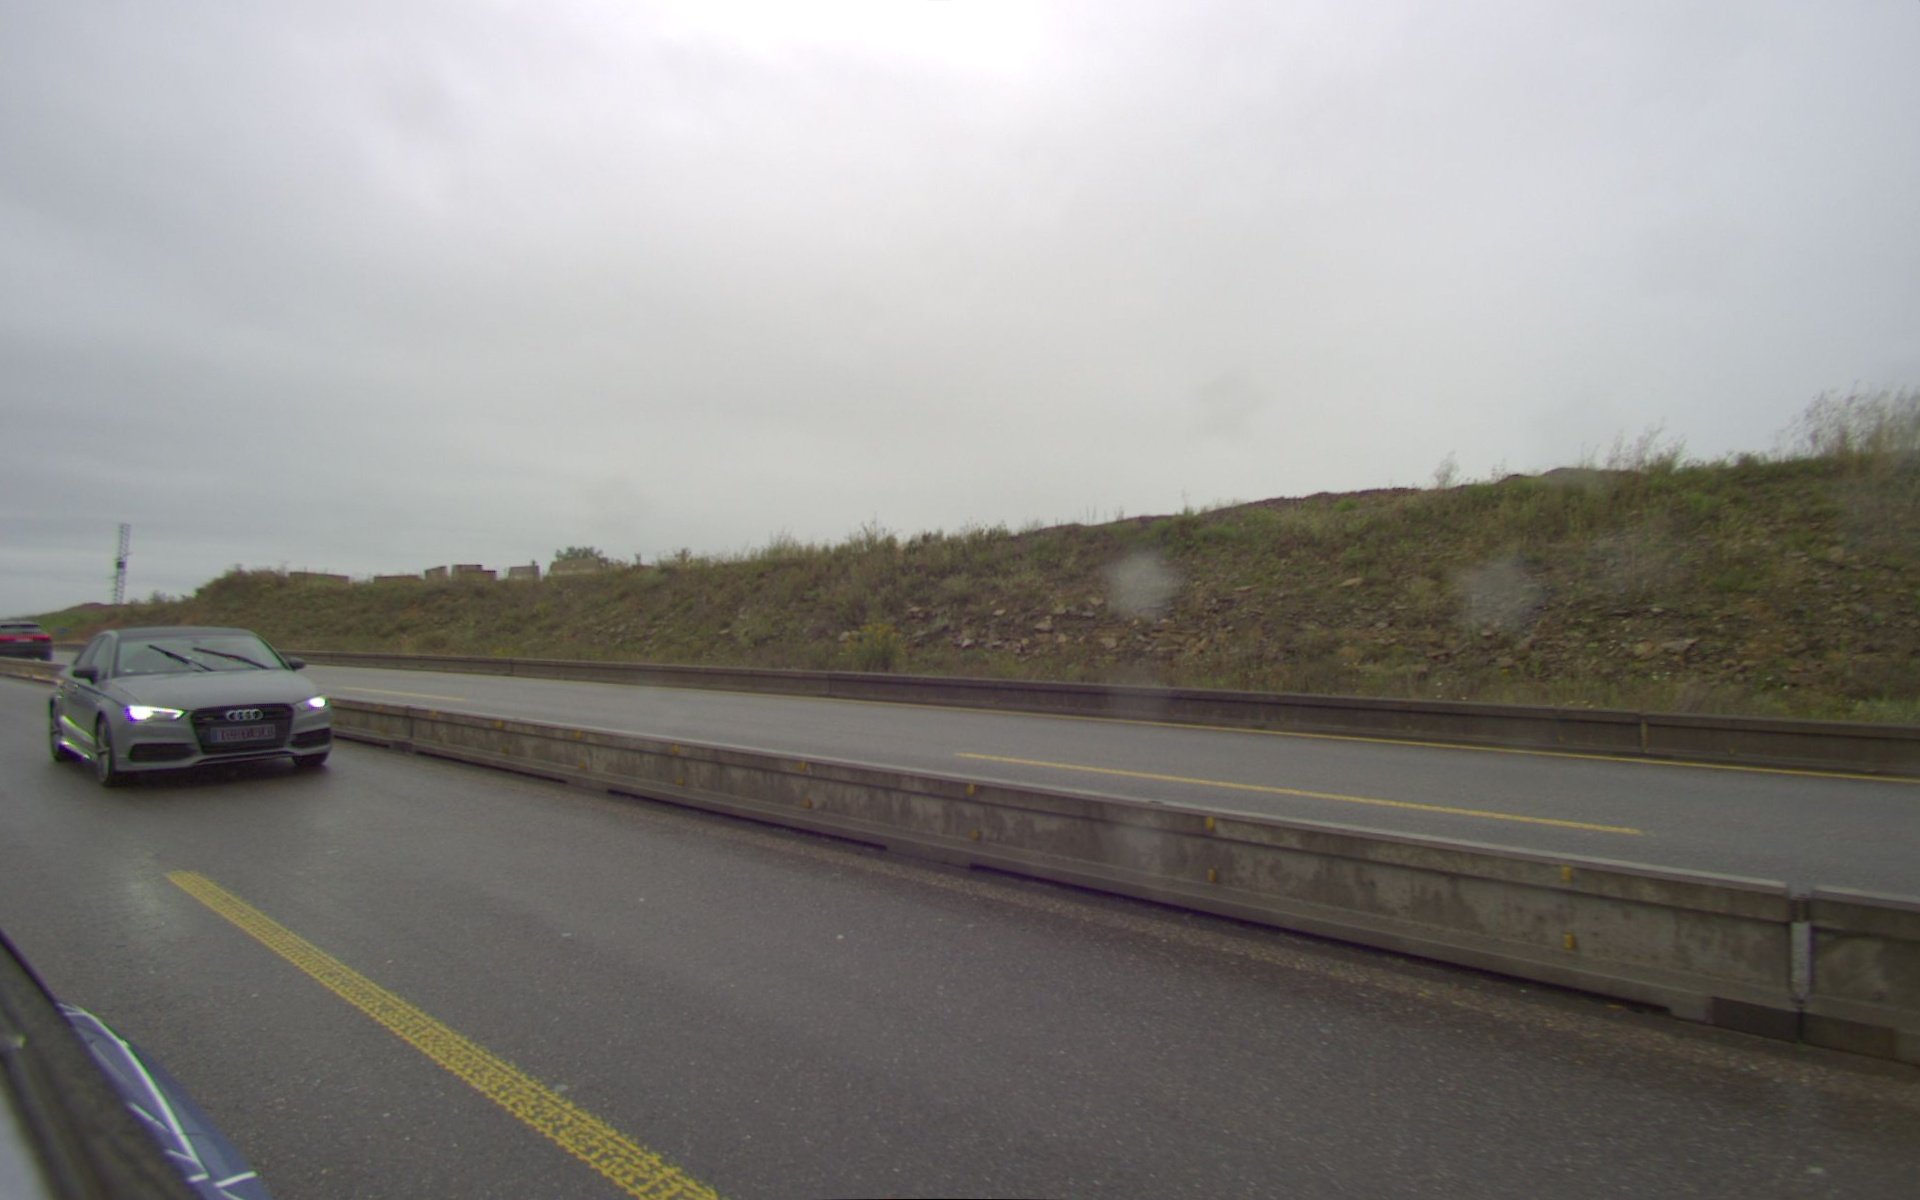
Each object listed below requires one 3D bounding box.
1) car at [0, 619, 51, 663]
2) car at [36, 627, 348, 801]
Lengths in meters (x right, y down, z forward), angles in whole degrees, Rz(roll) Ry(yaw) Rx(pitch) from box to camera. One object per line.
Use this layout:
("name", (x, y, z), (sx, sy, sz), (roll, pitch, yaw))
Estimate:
("car", (-36.621, 1.545, 38.885), (4.897, 1.605, 1.793), (-1, -2, 40))
("car", (-7.980, 0.992, 10.382), (4.086, 1.393, 1.781), (-1, -1, 41))
